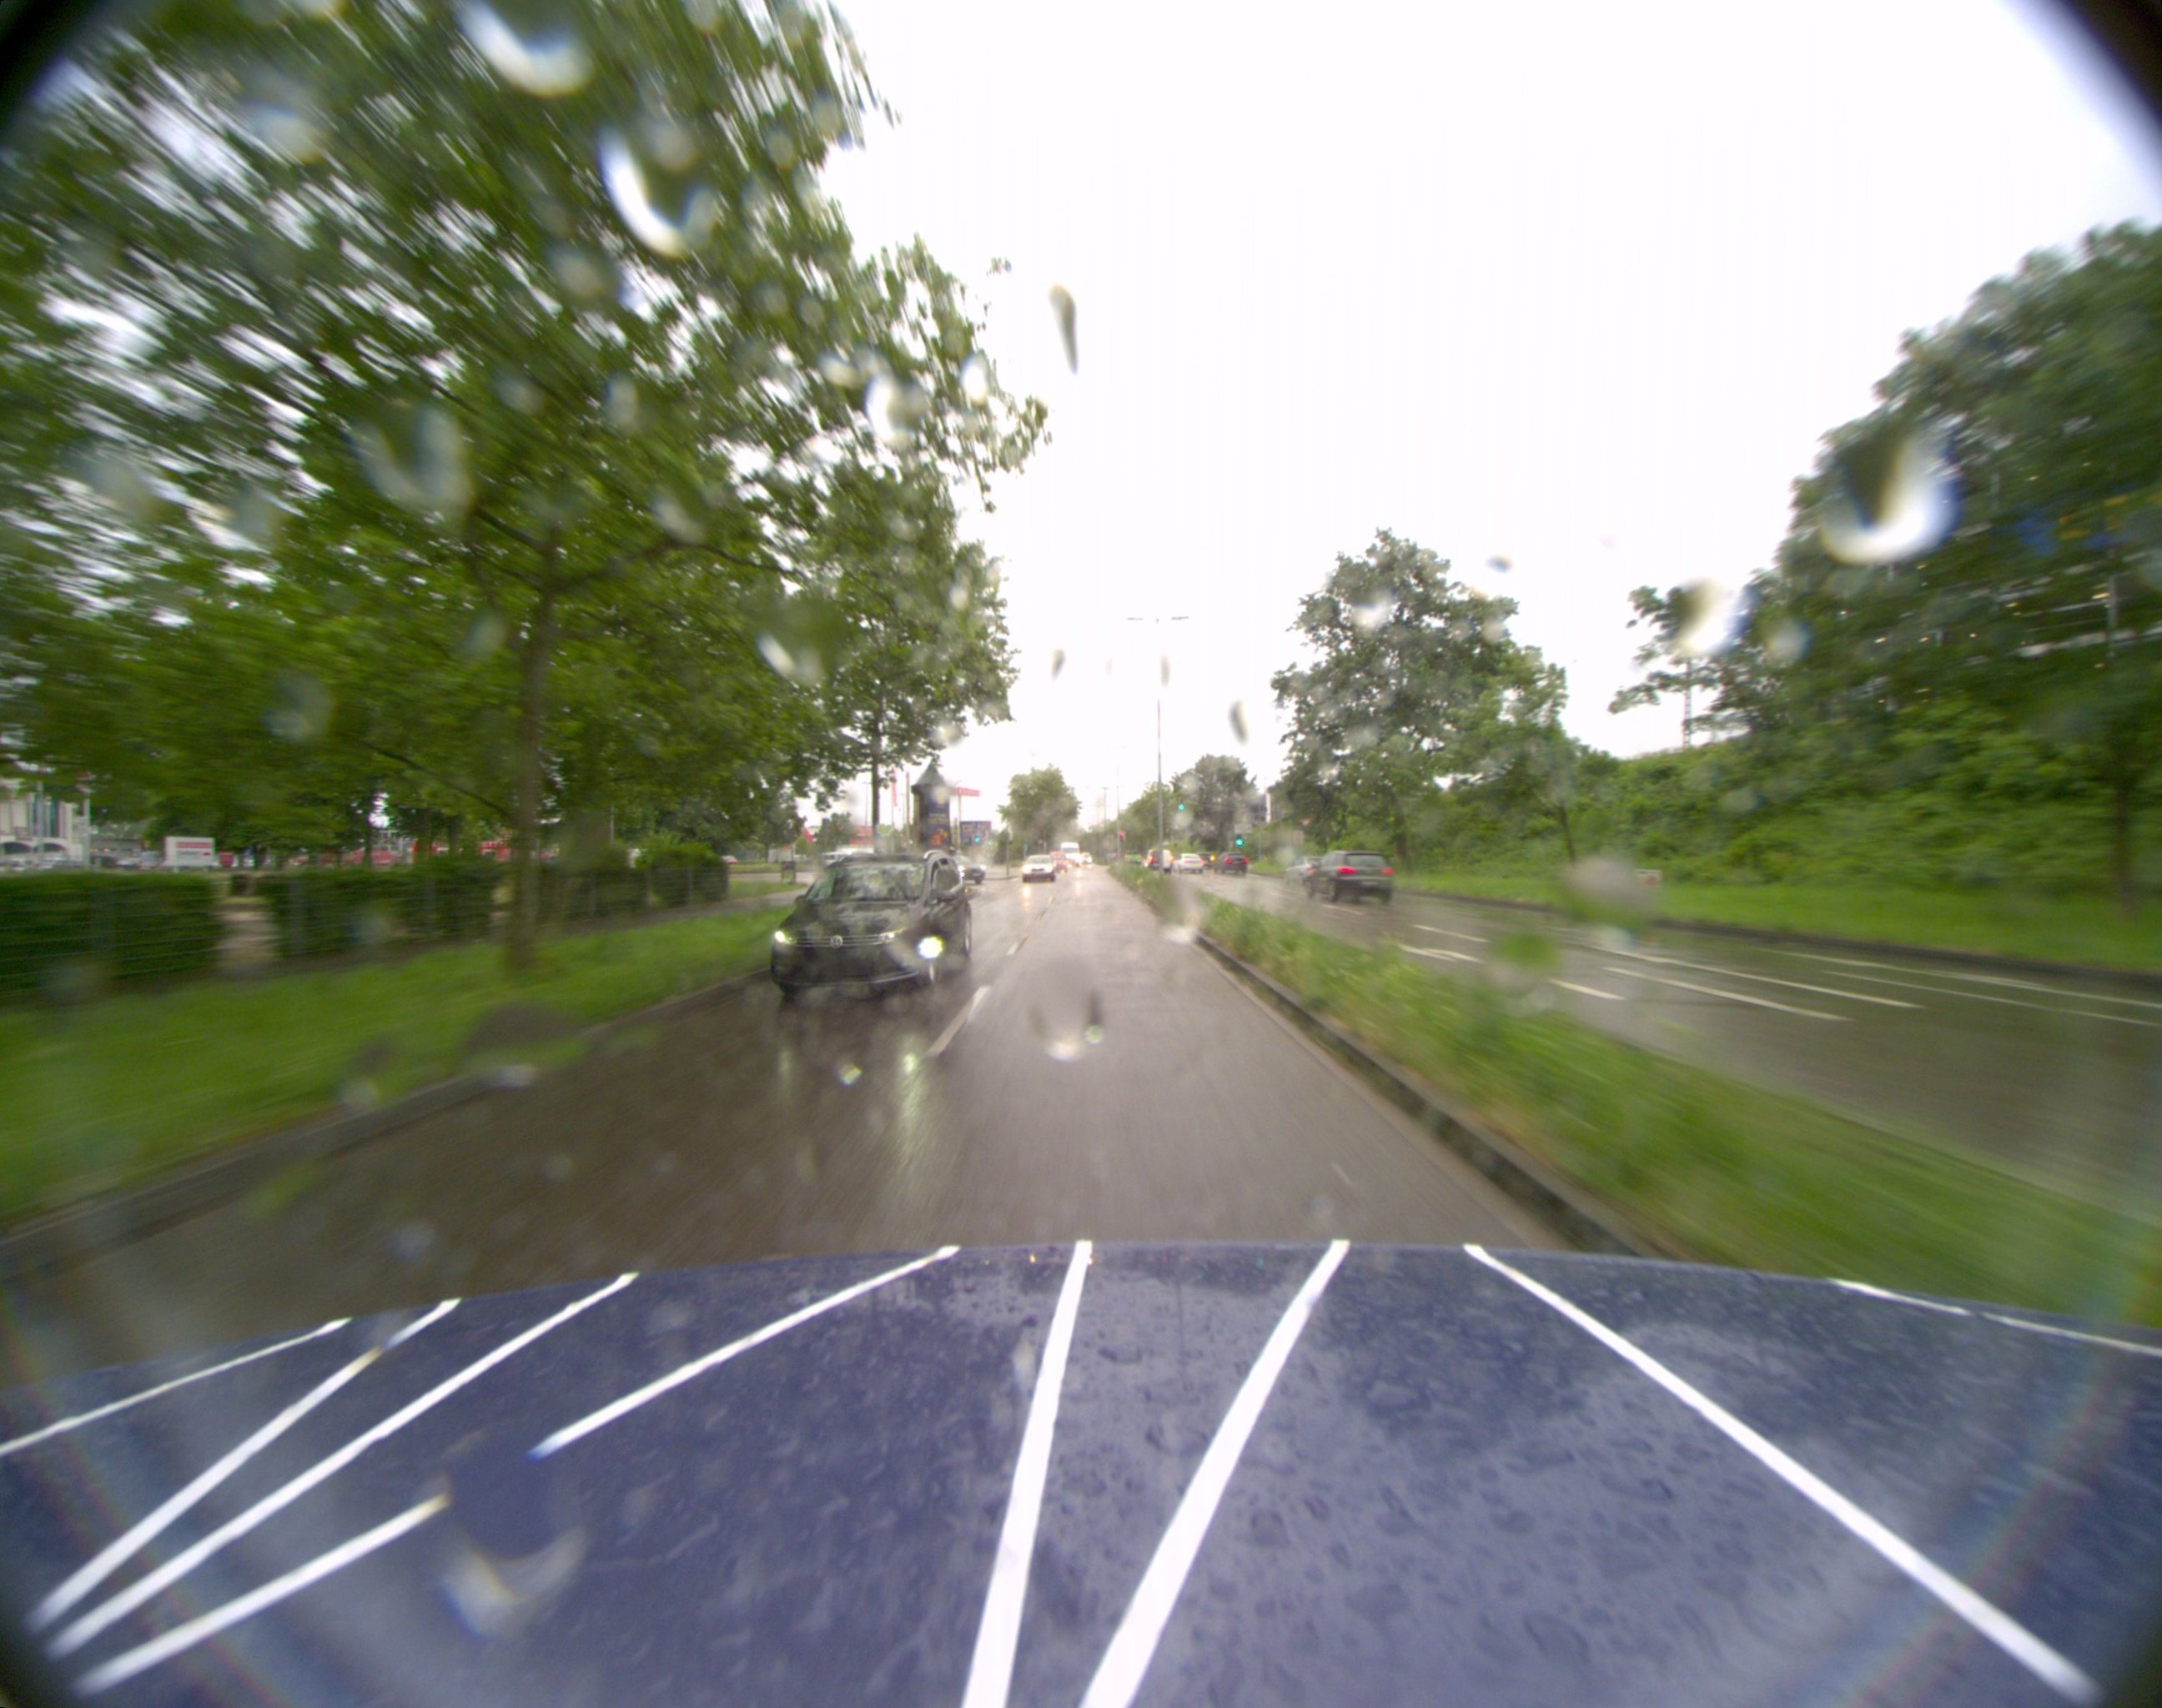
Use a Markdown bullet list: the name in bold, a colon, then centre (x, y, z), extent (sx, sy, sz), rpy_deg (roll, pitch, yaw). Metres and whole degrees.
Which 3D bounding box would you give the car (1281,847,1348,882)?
- **car**: centre (11.542, 0.465, 37.852), extent (1.903, 1.604, 4.477), rpy_deg (0, 1, -1)

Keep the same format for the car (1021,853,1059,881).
- **car**: centre (-2.267, 0.683, 43.234), extent (1.807, 1.422, 4.386), rpy_deg (-1, 1, 1)

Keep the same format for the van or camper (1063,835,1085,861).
- **van or camper**: centre (-0.703, -0.647, 80.072), extent (2.100, 2.580, 4.775), rpy_deg (-2, 1, 1)

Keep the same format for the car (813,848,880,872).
- **car**: centre (-17.583, 0.428, 57.076), extent (4.470, 1.663, 1.863), rpy_deg (-1, 1, -38)

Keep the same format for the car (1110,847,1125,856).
- **car**: centre (6.367, -0.474, 131.542), extent (1.977, 1.592, 4.385), rpy_deg (0, 1, -6)

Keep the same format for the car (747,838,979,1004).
- **car**: centre (-2.589, 0.688, 10.164), extent (1.861, 1.716, 4.189), rpy_deg (-2, 1, 0)

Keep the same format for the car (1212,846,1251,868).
- **car**: centre (11.661, 0.211, 59.149), extent (2.042, 1.651, 4.677), rpy_deg (0, 1, -1)

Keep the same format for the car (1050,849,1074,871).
- **car**: centre (-1.555, 0.464, 63.066), extent (1.699, 1.759, 4.558), rpy_deg (-1, 1, 1)

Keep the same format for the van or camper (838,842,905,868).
- **van or camper**: centre (-16.977, 0.059, 61.617), extent (4.918, 2.076, 1.863), rpy_deg (-1, 1, -38)

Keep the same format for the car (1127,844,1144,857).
- **car**: centre (6.634, -0.450, 92.575), extent (1.780, 1.552, 3.773), rpy_deg (-2, 1, 1)

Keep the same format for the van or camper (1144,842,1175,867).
- **van or camper**: centre (5.683, 0.038, 55.489), extent (1.733, 1.732, 3.999), rpy_deg (2, 1, -1)

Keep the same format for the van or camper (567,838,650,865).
- **van or camper**: centre (-61.921, -0.356, 99.657), extent (8.994, 3.140, 2.979), rpy_deg (-3, 2, -35)

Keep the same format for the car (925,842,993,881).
- **car**: centre (-6.885, 0.353, 42.491), extent (1.936, 2.044, 4.743), rpy_deg (-1, 1, -34)

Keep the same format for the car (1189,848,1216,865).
- **car**: centre (11.582, 0.205, 72.741), extent (1.903, 1.604, 4.404), rpy_deg (0, 1, -1)

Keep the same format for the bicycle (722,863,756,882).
- **bicycle**: centre (-18.971, 1.030, 42.116), extent (1.621, 1.032, 0.814), rpy_deg (0, 1, 21)

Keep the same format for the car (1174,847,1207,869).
- **car**: centre (8.550, 0.310, 59.904), extent (1.903, 1.604, 4.711), rpy_deg (1, 1, 0)

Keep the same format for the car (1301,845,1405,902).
- **car**: centre (8.605, 0.553, 24.430), extent (1.903, 1.604, 4.111), rpy_deg (2, 1, 2)
